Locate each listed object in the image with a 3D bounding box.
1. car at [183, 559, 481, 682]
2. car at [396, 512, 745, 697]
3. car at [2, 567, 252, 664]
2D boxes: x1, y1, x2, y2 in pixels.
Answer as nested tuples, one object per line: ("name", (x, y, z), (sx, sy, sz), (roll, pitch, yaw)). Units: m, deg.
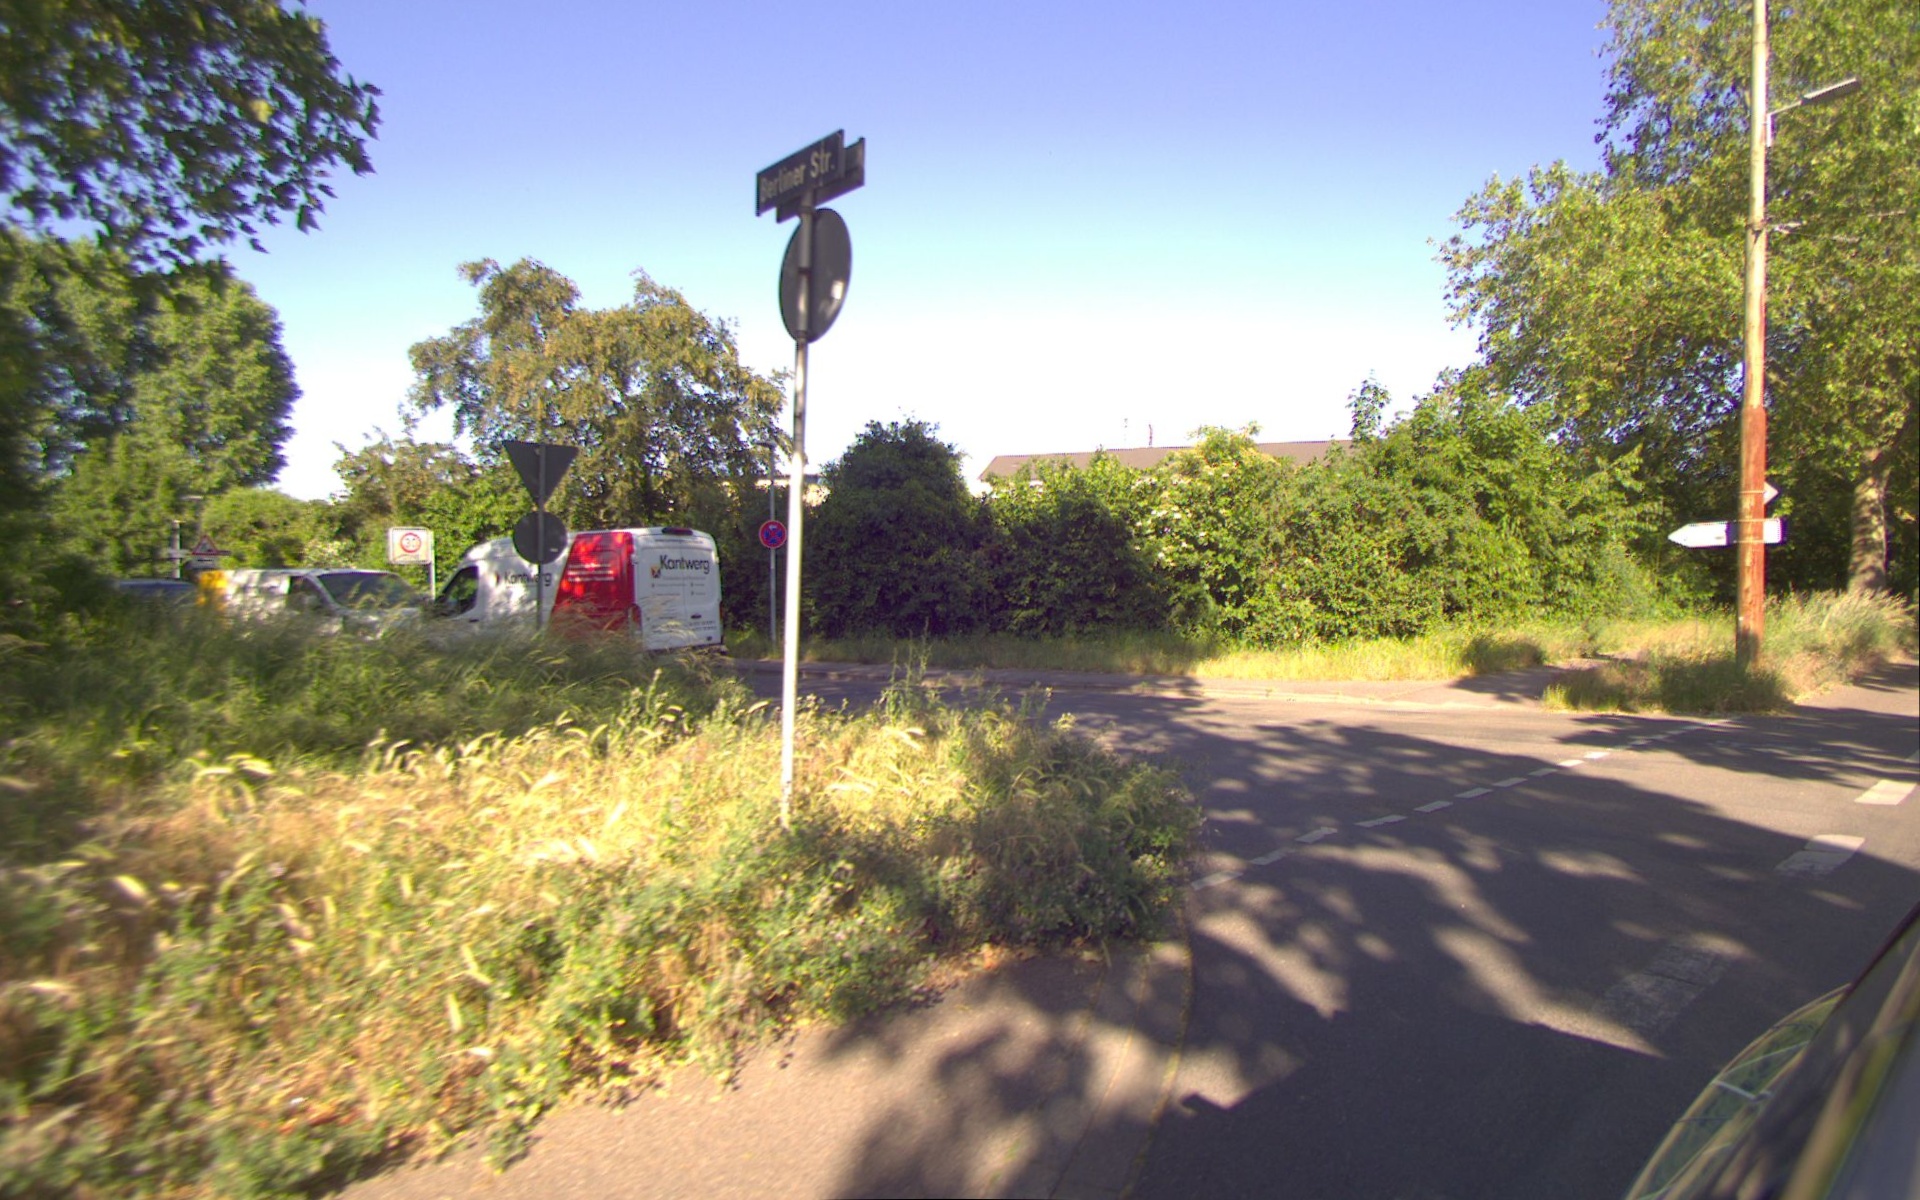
("car", (-11.478, 0.341, 18.465), (5.096, 1.967, 2.273), (-1, 0, 26))
("car", (-6.042, 0.082, 15.654), (4.949, 2.470, 2.309), (-1, 0, 26))
("car", (-17.980, 0.309, 21.827), (5.096, 1.898, 2.273), (-1, 0, 26))
